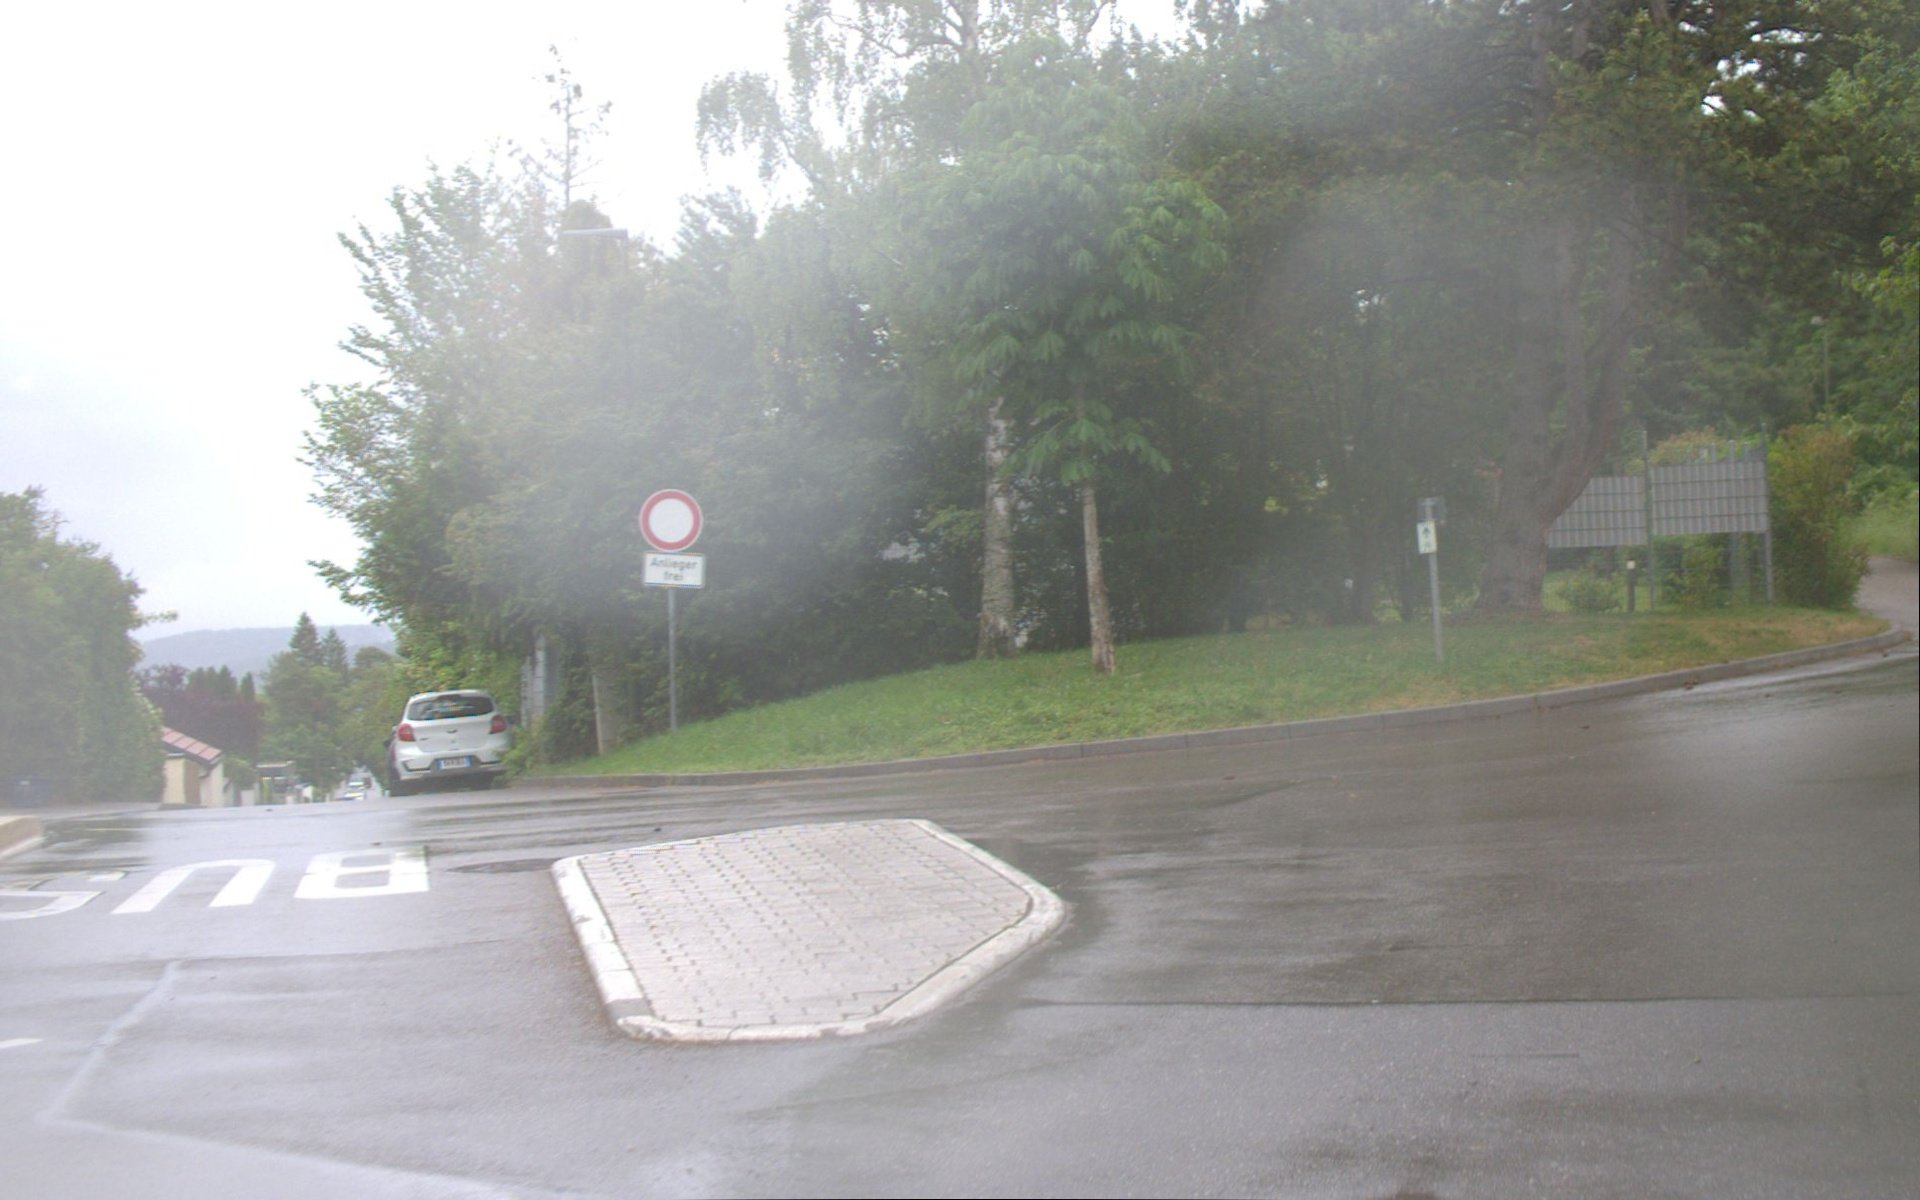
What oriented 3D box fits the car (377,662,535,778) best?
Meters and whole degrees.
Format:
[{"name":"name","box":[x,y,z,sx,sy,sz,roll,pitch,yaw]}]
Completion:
[{"name":"car","box":[-7.347,1.791,50.422,1.993,1.578,4.000,-1,-3,-4]}]
